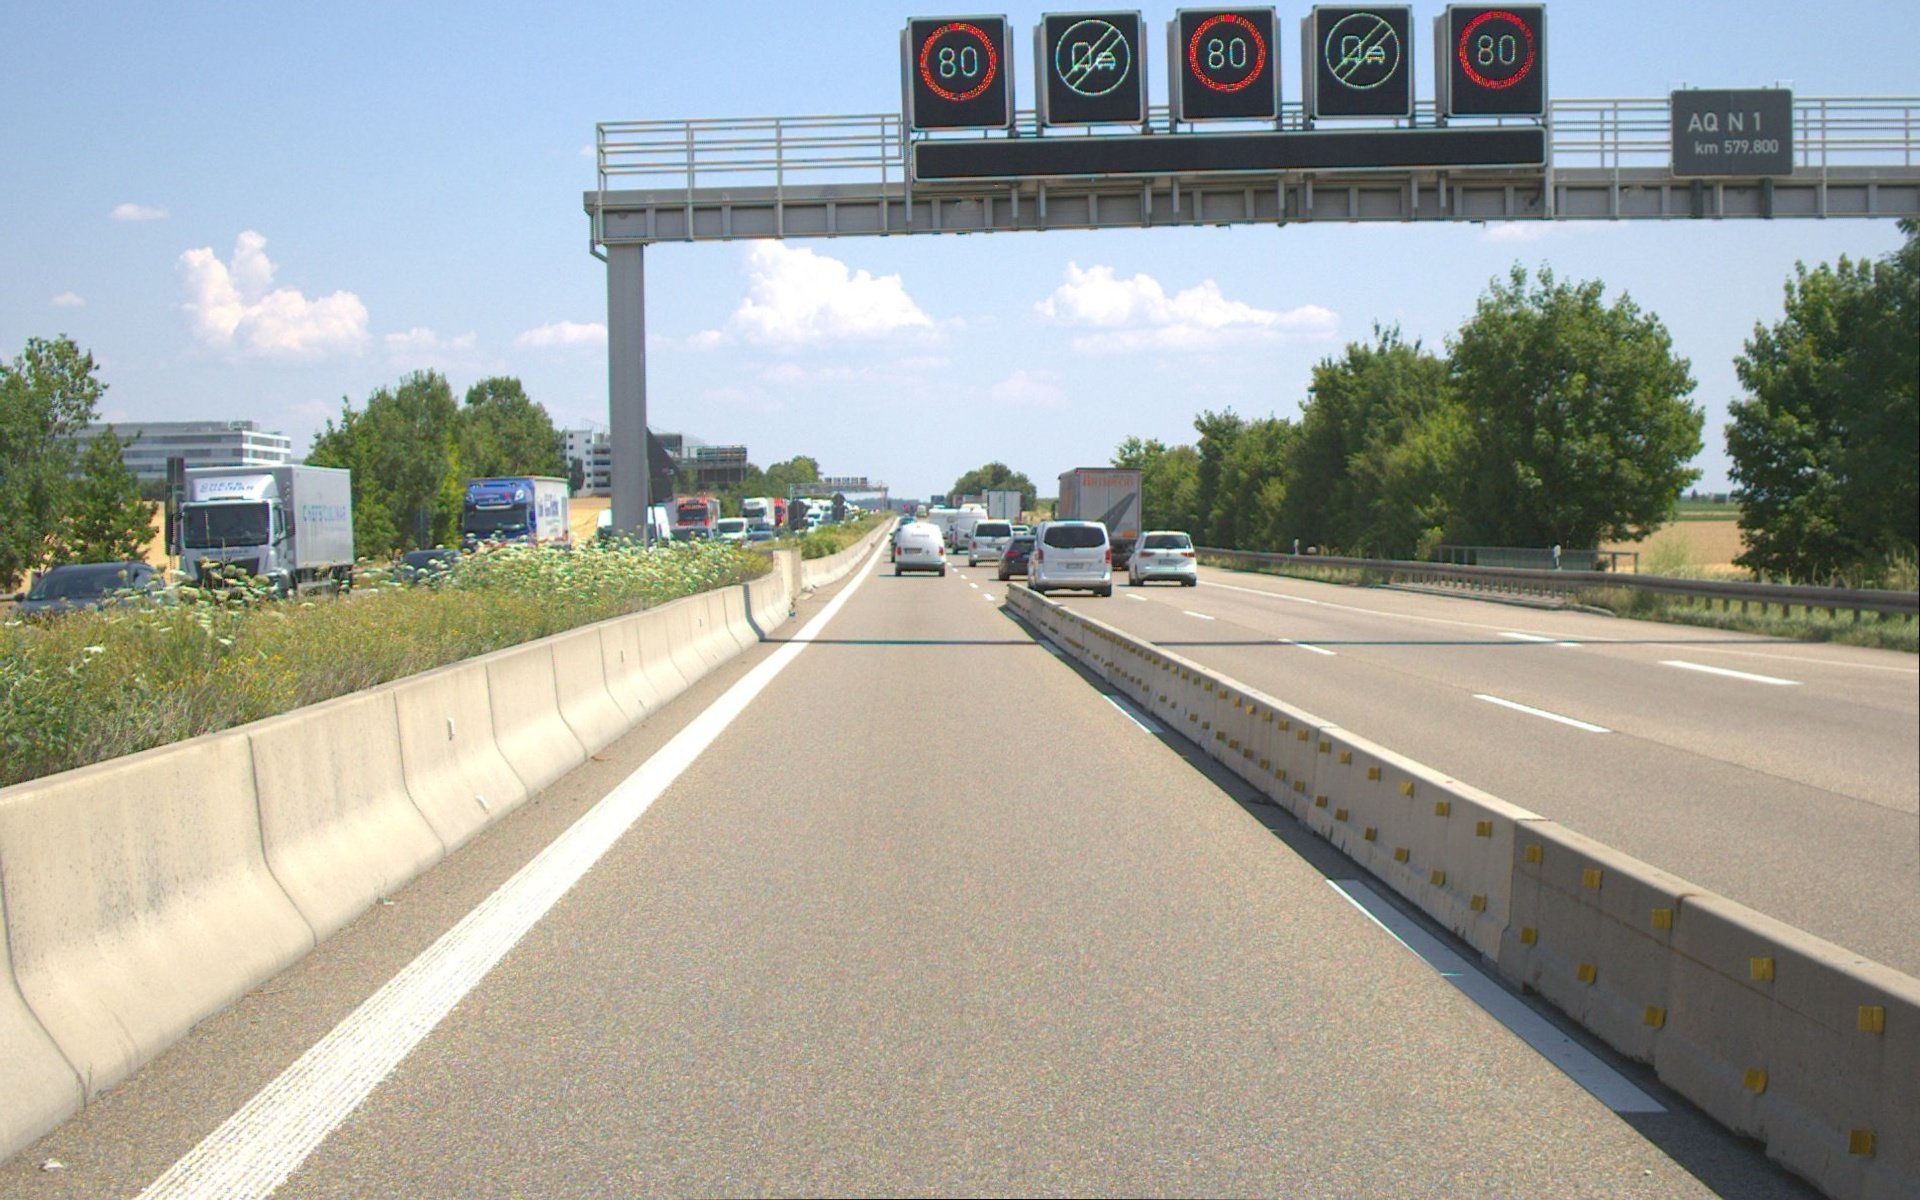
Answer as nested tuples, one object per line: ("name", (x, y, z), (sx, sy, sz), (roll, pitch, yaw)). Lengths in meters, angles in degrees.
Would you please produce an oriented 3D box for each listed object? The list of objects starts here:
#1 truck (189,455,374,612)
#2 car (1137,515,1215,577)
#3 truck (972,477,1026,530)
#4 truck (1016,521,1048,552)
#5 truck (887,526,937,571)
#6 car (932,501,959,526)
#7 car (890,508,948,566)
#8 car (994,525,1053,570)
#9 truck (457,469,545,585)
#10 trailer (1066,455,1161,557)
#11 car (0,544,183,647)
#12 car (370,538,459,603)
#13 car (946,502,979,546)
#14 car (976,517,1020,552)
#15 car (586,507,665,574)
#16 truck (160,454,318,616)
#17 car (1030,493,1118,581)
("truck", (-16.764, -1.667, 85.521), (2.699, 3.608, 8.787), (-2, 1, 0))
("car", (6.394, -1.590, 101.999), (1.993, 1.788, 4.000), (0, 0, -1))
("truck", (2.952, -7.353, 263.299), (3.815, 3.891, 9.581), (-1, 1, -1))
("truck", (4.810, -4.271, 230.598), (1.993, 2.007, 4.000), (-1, 1, -1))
("truck", (-2.261, -2.389, 159.674), (2.211, 2.007, 4.972), (-1, 1, -2))
("car", (-1.071, -6.543, 259.940), (1.993, 1.829, 4.000), (0, 1, -1))
("car", (-1.443, -2.189, 120.480), (1.993, 2.007, 4.000), (0, 0, -1))
("car", (2.040, -1.696, 111.798), (1.773, 1.442, 4.000), (0, 0, -1))
("truck", (-17.652, -2.808, 132.393), (2.592, 4.224, 4.855), (-3, 1, -1))
("trailer", (6.138, -3.727, 139.102), (3.277, 3.953, 9.113), (0, 0, -1))
("car", (-12.605, -0.099, 49.939), (1.832, 1.319, 4.282), (-2, 2, -3))
("car", (-12.891, -0.713, 81.397), (1.559, 1.437, 3.838), (-2, 1, -2))
("car", (0.154, -4.277, 193.422), (1.773, 2.384, 4.000), (0, 0, -1))
("car", (1.625, -2.787, 146.942), (1.773, 1.442, 4.000), (0, 0, -1))
("car", (-9.989, -1.791, 103.025), (1.993, 1.939, 4.795), (-1, 1, -1))
("truck", (-16.755, -1.531, 80.114), (2.698, 3.575, 4.000), (-2, 1, 0))
("car", (2.798, -1.533, 85.153), (1.993, 2.112, 4.000), (0, 0, -1))
